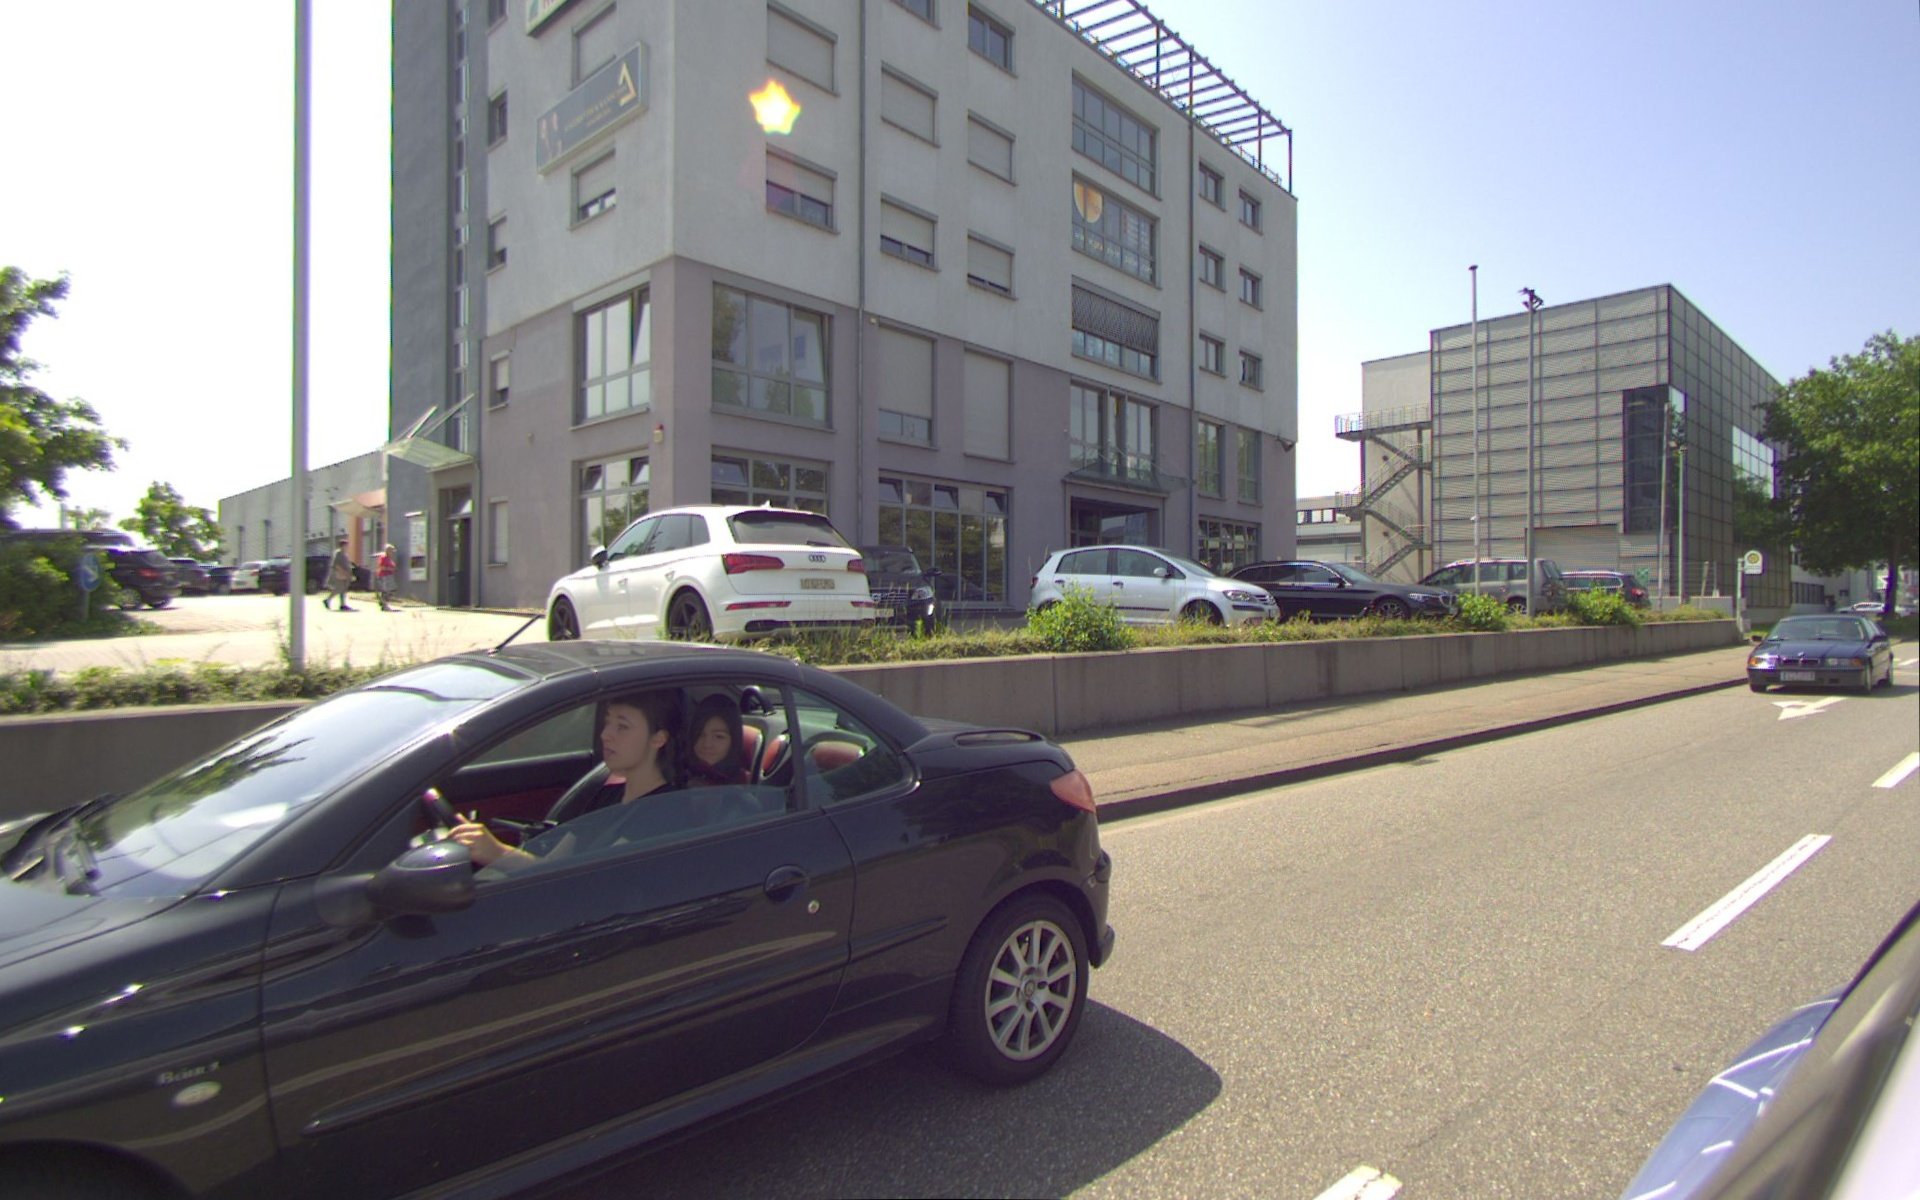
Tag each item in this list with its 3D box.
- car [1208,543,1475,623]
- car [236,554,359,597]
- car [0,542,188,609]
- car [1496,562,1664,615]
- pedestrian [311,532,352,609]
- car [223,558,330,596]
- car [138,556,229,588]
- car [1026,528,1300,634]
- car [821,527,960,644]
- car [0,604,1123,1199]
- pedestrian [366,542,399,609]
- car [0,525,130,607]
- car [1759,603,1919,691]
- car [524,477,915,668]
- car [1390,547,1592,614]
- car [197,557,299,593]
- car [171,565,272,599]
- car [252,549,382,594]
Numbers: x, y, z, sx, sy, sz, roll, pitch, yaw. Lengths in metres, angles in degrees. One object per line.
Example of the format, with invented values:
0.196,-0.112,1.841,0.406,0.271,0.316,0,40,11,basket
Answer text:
7.612,-0.286,20.551,4.747,1.399,1.771,-2,-1,45,car
-25.845,-0.929,39.570,3.923,1.571,2.000,0,1,-34,car
-22.270,-0.588,25.009,4.745,1.571,2.004,0,1,-25,car
19.063,-0.369,31.237,1.729,1.504,4.132,-1,1,-42,car
-15.448,-0.714,24.892,0.774,1.862,0.857,0,0,-26,pedestrian
-30.609,-1.021,45.409,3.924,1.616,2.000,0,1,-35,car
-40.287,-1.423,52.515,3.949,1.616,1.987,0,1,20,car
3.224,-0.240,16.356,3.973,1.505,1.736,-2,-1,35,car
-1.294,-0.185,16.707,1.875,1.628,4.529,-1,-1,-9,car
-1.284,0.742,2.781,3.440,1.373,1.639,-1,2,-42,car
-14.007,-0.586,24.549,0.629,1.594,0.774,0,0,-26,pedestrian
-25.788,-0.938,28.489,3.358,2.220,1.676,0,0,-15,car
15.921,0.781,18.248,3.887,1.340,1.709,-1,-1,-42,car
-2.761,-0.207,10.935,4.464,1.630,2.063,-2,0,45,car
13.179,-0.436,25.298,1.729,1.505,4.131,-1,-1,-42,car
-33.911,-1.171,48.337,3.924,1.616,2.000,0,1,-35,car
-36.378,-0.853,49.974,3.924,1.616,2.000,0,1,-35,car
-23.600,-0.999,37.212,3.923,1.571,2.000,0,1,-34,car
